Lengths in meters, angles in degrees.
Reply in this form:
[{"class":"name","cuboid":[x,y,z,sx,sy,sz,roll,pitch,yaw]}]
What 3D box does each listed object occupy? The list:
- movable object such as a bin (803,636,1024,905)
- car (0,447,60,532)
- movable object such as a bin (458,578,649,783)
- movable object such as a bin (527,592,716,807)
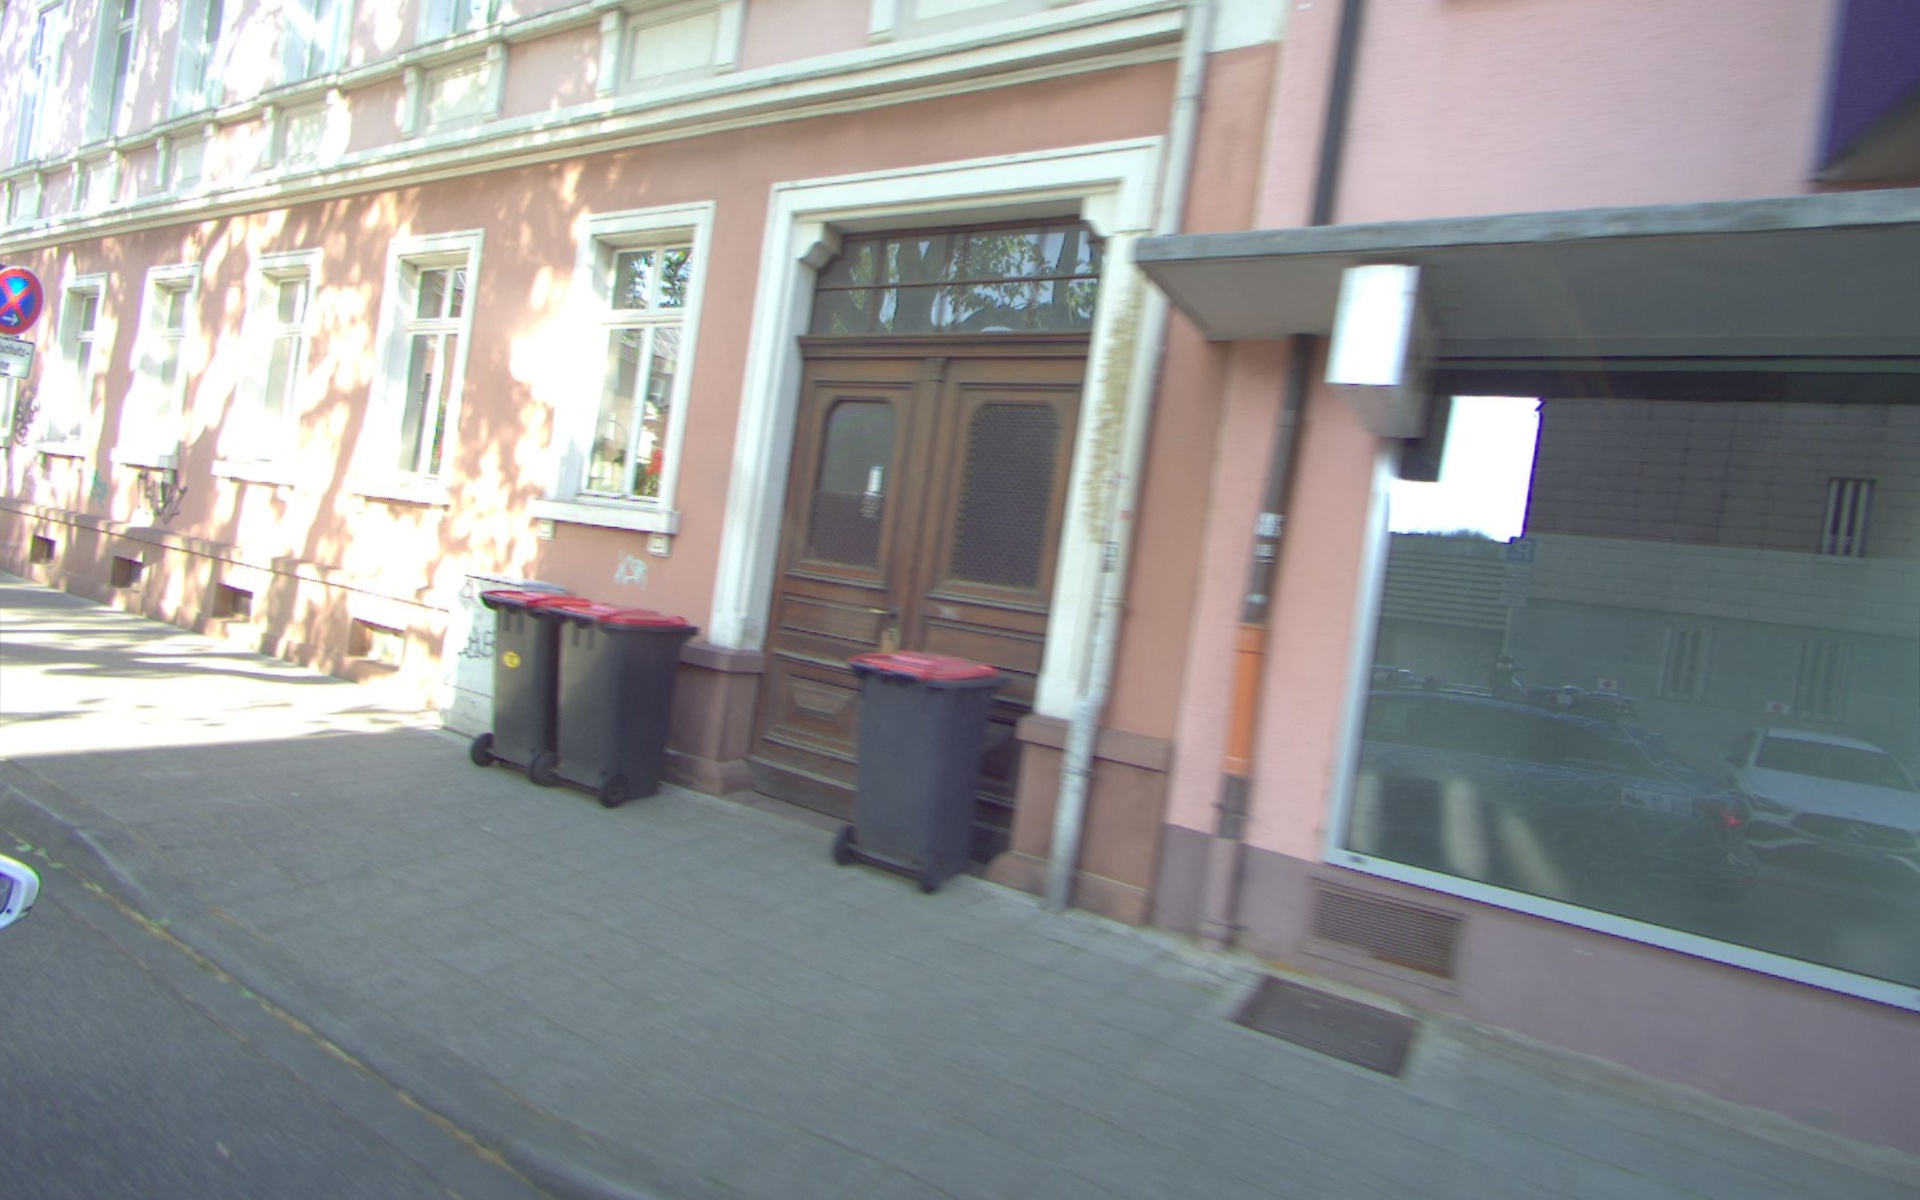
[{"class":"movable object such as a bin","cuboid":[-0.213,0.790,4.944,0.681,1.117,0.731,8,0,29]},{"class":"car","cuboid":[-25.929,-3.102,25.021,4.862,1.950,1.982,9,-2,-34]},{"class":"movable object such as a bin","cuboid":[-2.454,0.477,6.101,0.624,1.099,0.746,8,0,33]},{"class":"movable object such as a bin","cuboid":[-1.931,0.553,5.774,0.587,1.086,0.702,8,0,33]}]
